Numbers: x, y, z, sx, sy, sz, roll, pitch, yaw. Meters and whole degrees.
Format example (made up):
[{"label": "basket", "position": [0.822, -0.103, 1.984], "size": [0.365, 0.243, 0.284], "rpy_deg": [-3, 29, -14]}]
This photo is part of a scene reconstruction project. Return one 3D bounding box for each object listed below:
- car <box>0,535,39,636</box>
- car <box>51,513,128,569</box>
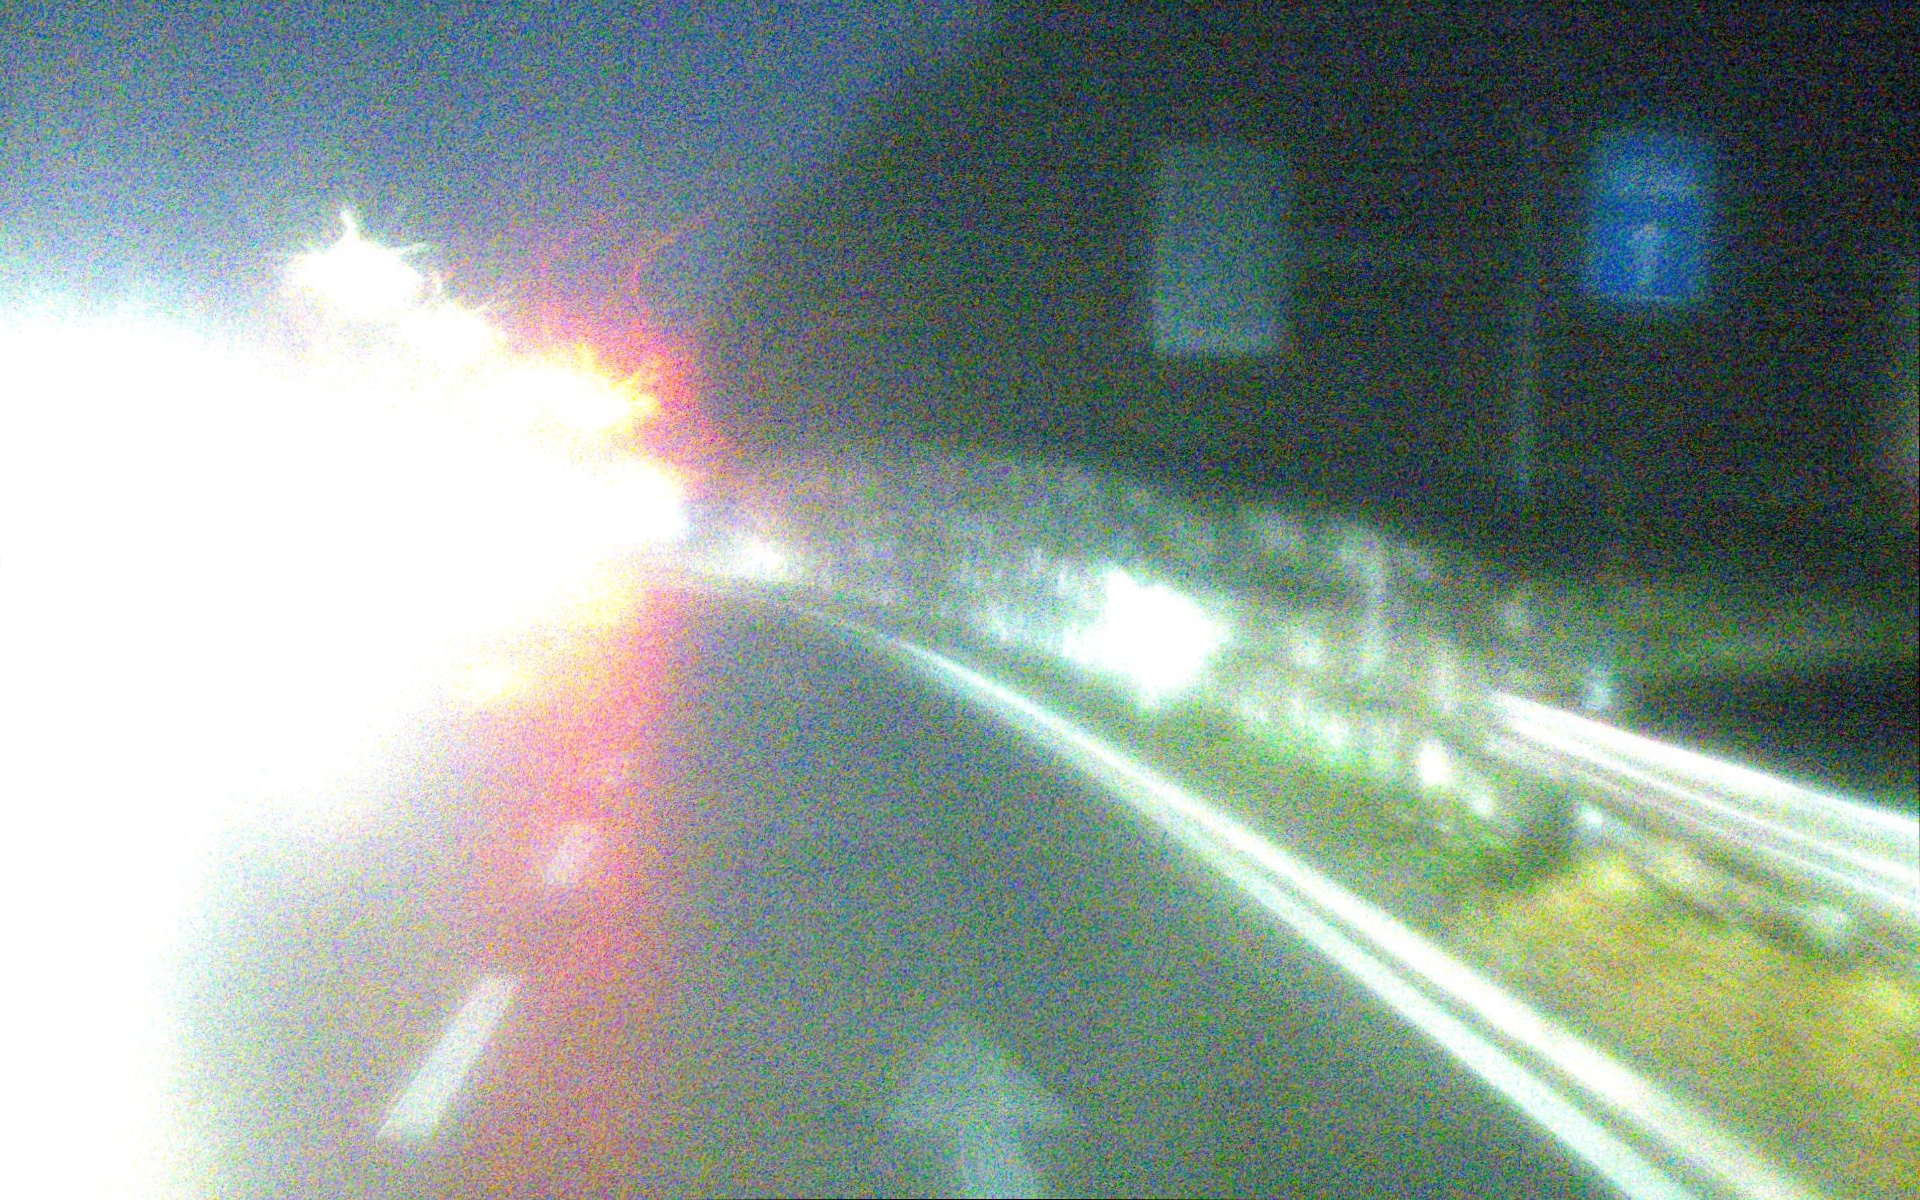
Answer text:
[{"label": "car", "position": [-17.868, -0.299, 61.613], "size": [2.197, 1.739, 4.526], "rpy_deg": [1, 1, -10]}, {"label": "car", "position": [-23.114, -1.567, 91.377], "size": [1.832, 1.437, 4.492], "rpy_deg": [1, 1, -13]}]
